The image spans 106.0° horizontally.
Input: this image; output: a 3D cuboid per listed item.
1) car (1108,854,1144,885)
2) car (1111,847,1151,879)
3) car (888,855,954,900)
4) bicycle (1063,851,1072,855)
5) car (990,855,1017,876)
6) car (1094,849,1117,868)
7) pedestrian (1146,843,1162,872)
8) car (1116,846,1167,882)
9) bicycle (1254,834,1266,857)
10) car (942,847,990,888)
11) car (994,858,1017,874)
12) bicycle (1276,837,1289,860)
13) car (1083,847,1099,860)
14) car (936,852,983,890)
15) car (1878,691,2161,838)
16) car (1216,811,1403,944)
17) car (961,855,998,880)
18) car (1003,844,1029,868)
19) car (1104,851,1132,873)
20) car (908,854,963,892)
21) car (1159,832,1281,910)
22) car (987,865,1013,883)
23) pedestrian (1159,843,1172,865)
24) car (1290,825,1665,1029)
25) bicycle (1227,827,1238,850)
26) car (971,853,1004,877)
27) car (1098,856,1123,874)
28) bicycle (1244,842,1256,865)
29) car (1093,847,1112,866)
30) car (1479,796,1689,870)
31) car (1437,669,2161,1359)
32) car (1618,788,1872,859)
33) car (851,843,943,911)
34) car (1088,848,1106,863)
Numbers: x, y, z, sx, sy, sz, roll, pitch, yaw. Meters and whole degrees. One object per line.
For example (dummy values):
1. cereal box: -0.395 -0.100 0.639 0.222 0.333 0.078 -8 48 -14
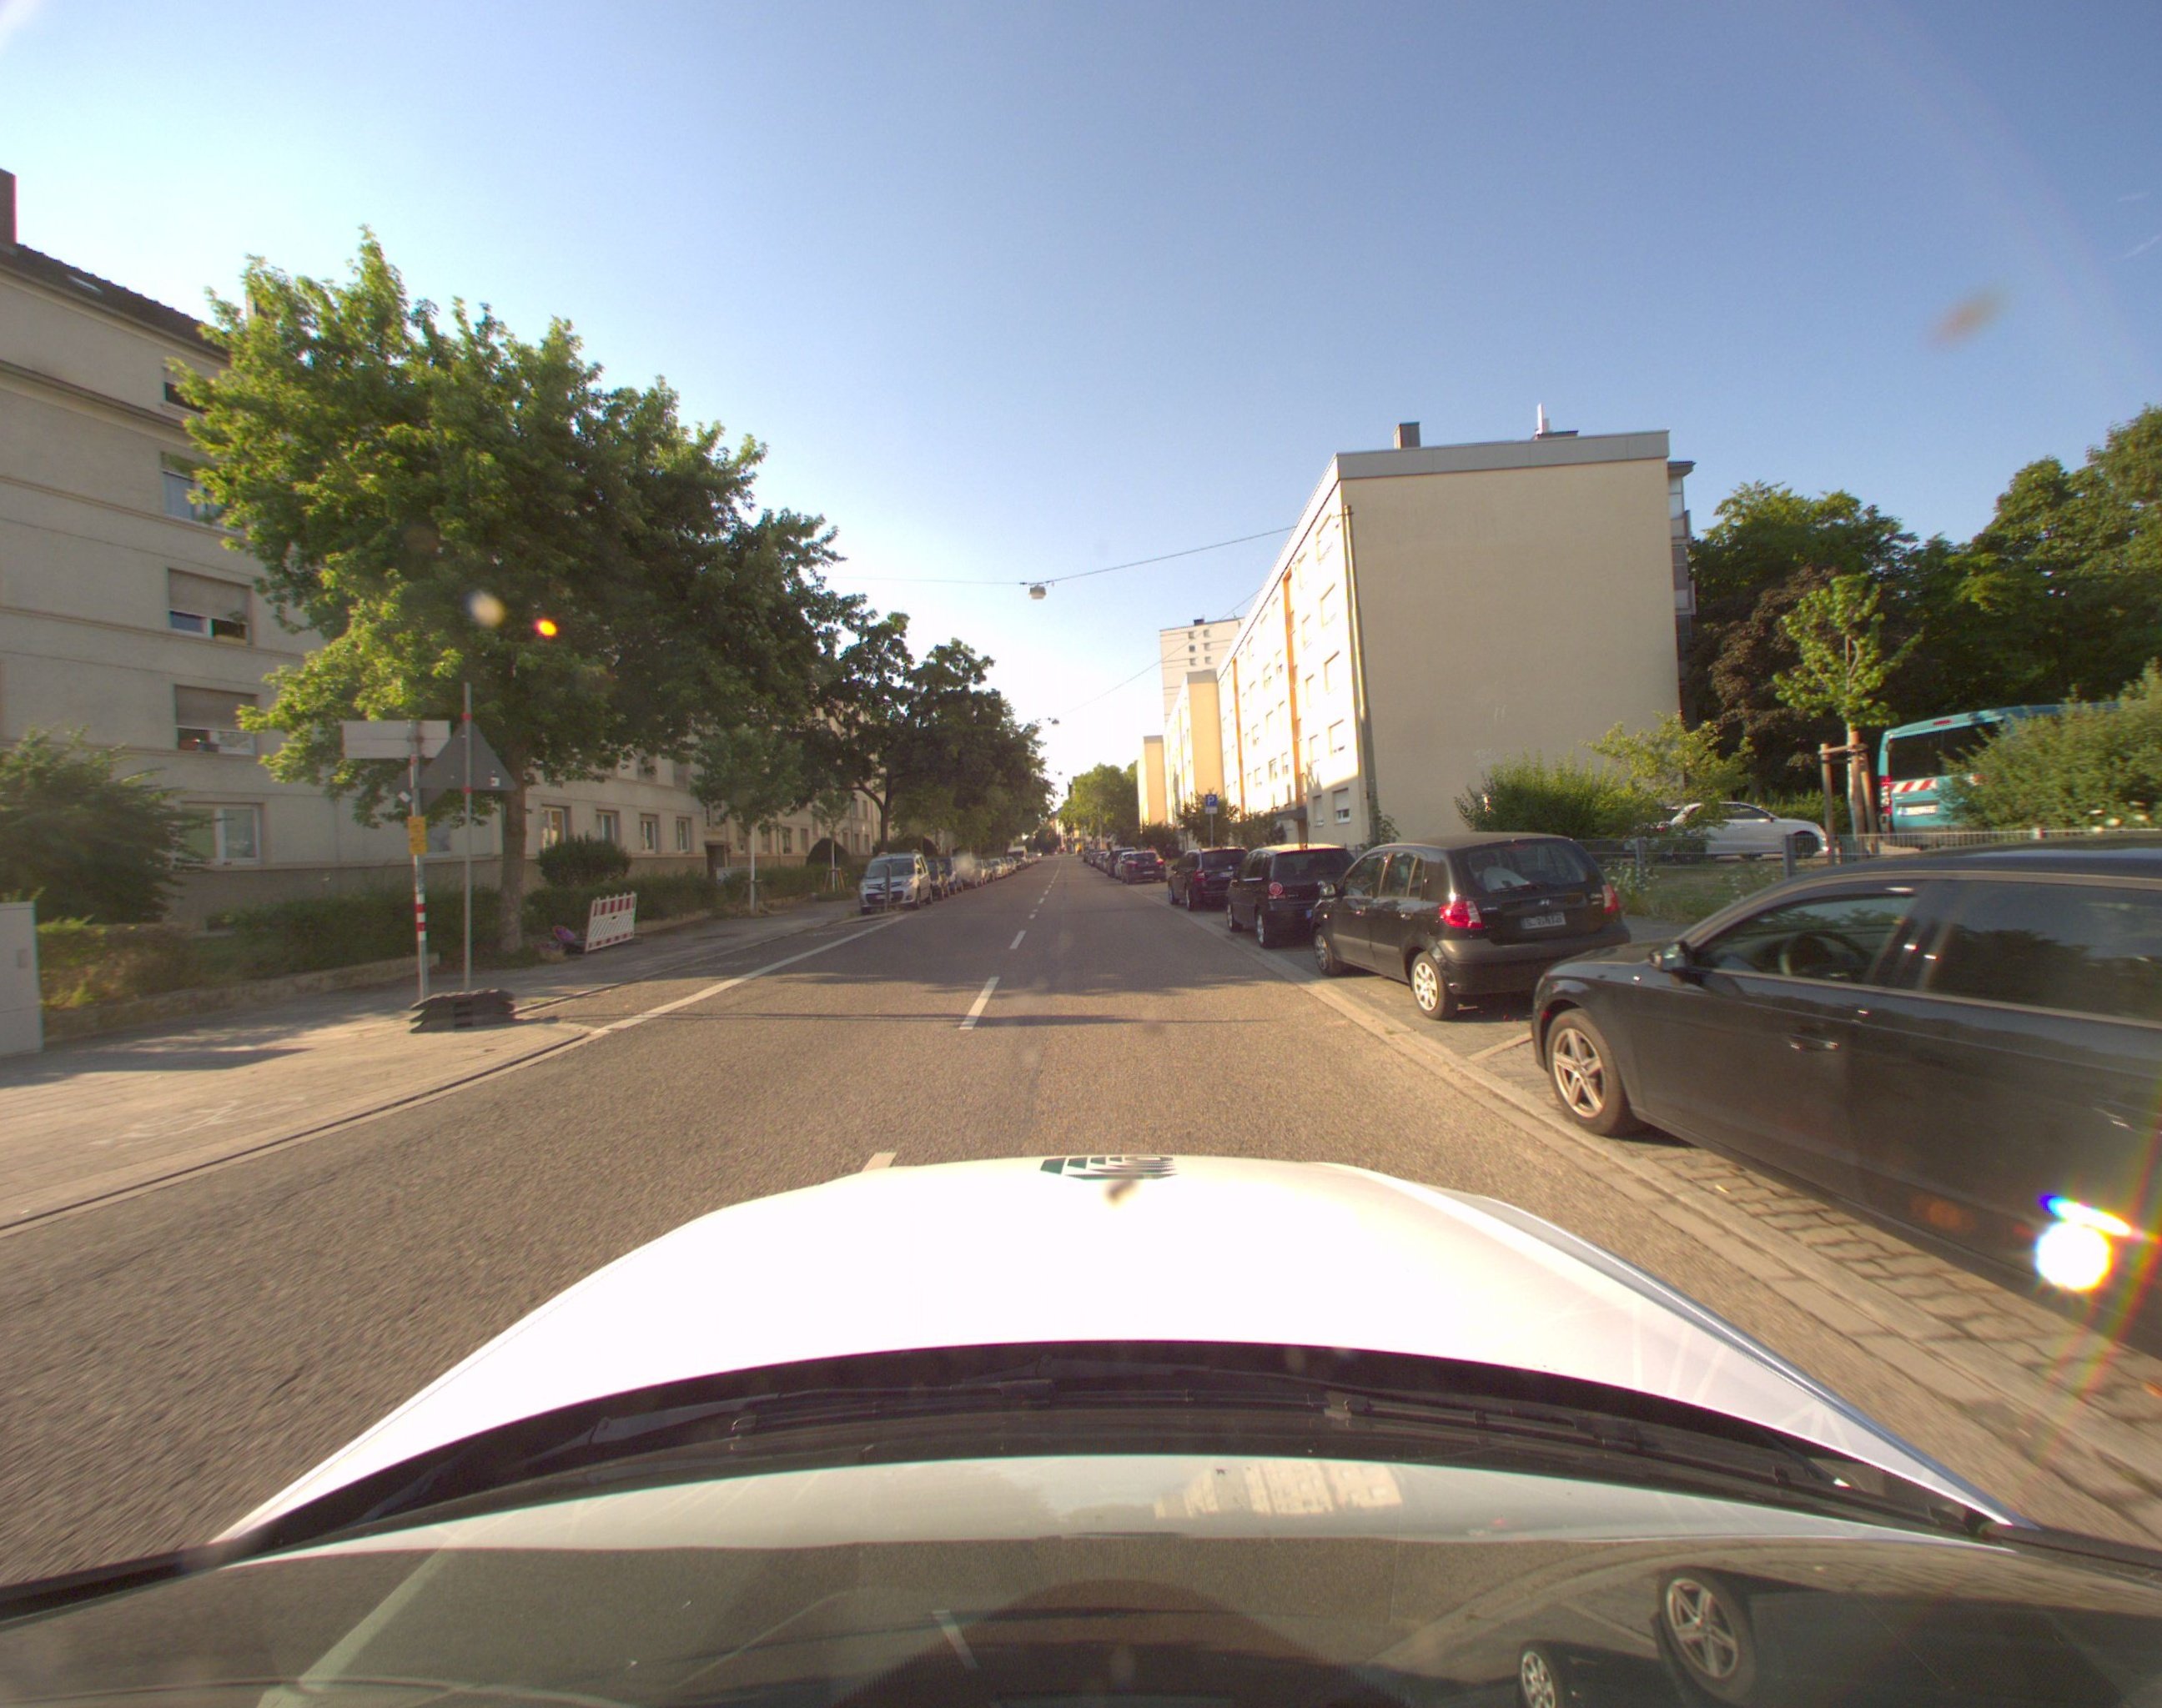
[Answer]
1. car: 2.657 0.946 49.248 1.766 1.677 4.644 -3 -1 -1
2. car: 2.651 0.512 44.282 1.767 1.508 3.998 -5 -1 -1
3. car: -5.966 0.851 30.816 1.869 1.552 3.995 -1 -1 -3
4. bicycle: -4.300 -0.325 255.085 2.801 1.203 0.508 -1 -1 -8
5. car: -6.059 0.898 64.195 1.869 1.552 3.995 -1 -1 -3
6. car: 2.376 0.465 78.795 1.956 1.605 4.277 -4 -1 -1
7. pedestrian: 4.939 0.255 54.914 0.886 1.890 1.278 -1 -1 -1
8. car: 2.779 0.482 38.517 1.795 1.507 4.616 -4 -1 -3
9. bicycle: 9.427 -0.433 42.880 0.332 1.192 1.240 -1 -1 -1
10. car: -6.420 0.769 45.778 1.988 2.013 3.998 -5 -1 -1
11. car: -6.744 1.081 73.046 1.869 1.355 4.648 -1 -1 -3
12. bicycle: 10.602 -0.288 42.814 0.332 1.192 1.240 -1 -1 -1
13. car: 1.342 -0.088 111.481 1.893 1.651 4.339 -1 0 -2
14. car: -6.099 0.860 41.314 1.869 1.759 4.684 -1 -1 -3
15. car: 14.274 -1.205 11.556 3.975 1.794 1.999 -1 -1 -1
16. car: 3.517 0.348 13.481 1.894 1.779 4.583 -1 -1 2
17. car: -6.198 0.841 50.248 1.869 1.434 4.798 -1 -1 -3
18. car: -7.130 0.276 89.782 2.351 2.445 6.162 -1 -1 -1
19. car: 2.745 0.611 61.411 1.767 1.453 3.998 -5 -1 -1
20. car: -6.360 0.828 36.060 1.869 1.552 3.995 -1 -1 -3
21. car: 3.328 0.414 20.564 1.882 1.561 4.941 -5 -1 -3
22. car: -6.630 1.612 66.929 1.869 1.355 3.995 -1 -1 -3
23. pedestrian: 6.593 -0.031 63.638 0.763 1.658 0.536 -5 -1 -1
24. car: 3.515 0.489 8.121 1.646 1.436 3.957 -4 2 -2
25. bicycle: 7.928 -0.808 42.699 0.332 1.192 1.240 -1 -1 -1
26. car: -6.582 0.786 57.818 2.000 1.552 4.466 -1 -1 -3
27. car: 2.543 0.980 71.621 1.869 1.442 3.995 -1 -1 -3
28. bicycle: 8.704 -0.013 42.041 0.332 1.192 1.240 -1 -1 -1
29. car: 2.177 0.266 83.757 1.830 1.772 3.979 -3 -1 2
30. car: 13.389 -0.520 21.864 4.460 1.602 1.733 -4 -1 1
31. car: 3.372 0.344 3.218 1.894 1.529 4.812 -2 -1 2
32. car: 15.371 -0.670 19.036 4.460 1.455 1.733 -1 -1 1
33. car: -5.786 0.705 26.118 1.835 1.896 4.486 -2 -1 0
34. car: 1.742 0.163 88.258 1.831 1.501 4.171 -1 -1 0
